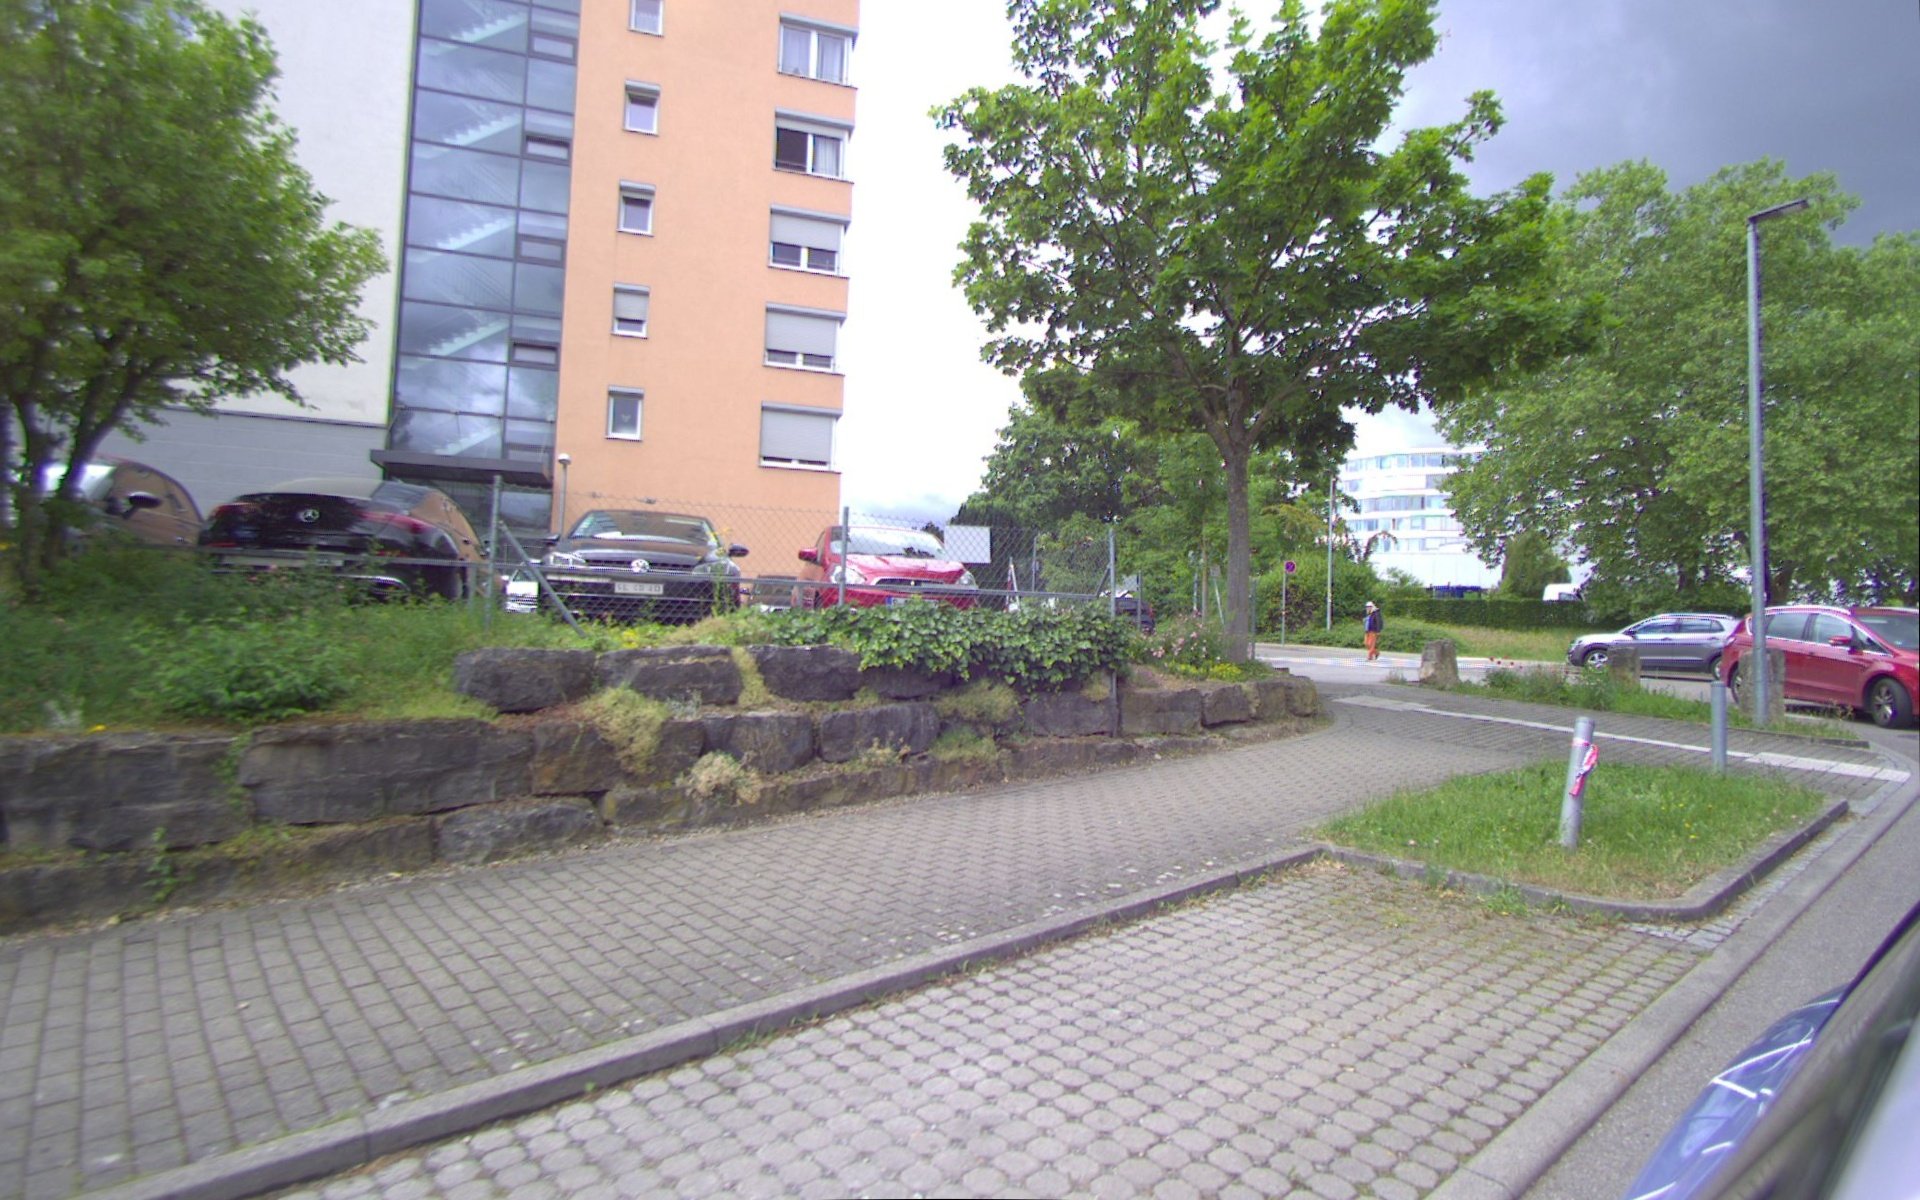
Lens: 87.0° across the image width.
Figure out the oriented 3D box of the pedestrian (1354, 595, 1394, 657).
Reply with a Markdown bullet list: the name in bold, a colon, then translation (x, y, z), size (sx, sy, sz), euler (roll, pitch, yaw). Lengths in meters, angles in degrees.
- **pedestrian**: translation (11.622, 0.729, 28.406), size (0.604, 1.686, 0.839), euler (1, 1, -44)

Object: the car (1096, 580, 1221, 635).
- **car**: translation (6.497, 0.244, 33.174), size (3.697, 1.680, 1.576), euler (1, 0, -17)

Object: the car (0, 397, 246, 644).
- **car**: translation (-7.657, -0.473, 8.325), size (1.903, 1.635, 4.006), euler (2, -3, -21)

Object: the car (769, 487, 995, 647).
- **car**: translation (-1.027, -0.226, 11.230), size (1.649, 1.458, 3.668), euler (1, -3, -18)

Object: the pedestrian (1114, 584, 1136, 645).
- **pedestrian**: translation (5.083, 0.457, 31.246), size (0.474, 1.836, 0.584), euler (1, -3, -16)

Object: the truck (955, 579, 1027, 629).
- **truck**: translation (1.719, 0.280, 58.187), size (2.024, 2.641, 5.817), euler (2, -3, -21)

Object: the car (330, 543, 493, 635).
- **car**: translation (-10.342, -0.106, 19.422), size (1.719, 1.537, 4.060), euler (1, -3, -13)

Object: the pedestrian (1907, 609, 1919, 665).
- **pedestrian**: translation (28.707, 1.097, 29.890), size (0.580, 1.678, 0.873), euler (2, -3, -25)

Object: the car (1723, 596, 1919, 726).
- **car**: translation (13.576, 0.805, 14.797), size (1.948, 1.666, 4.523), euler (0, -1, 9)

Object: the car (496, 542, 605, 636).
- **car**: translation (-7.998, -0.125, 20.069), size (1.657, 1.614, 4.139), euler (2, -3, -18)

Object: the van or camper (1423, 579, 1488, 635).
- **van or camper**: translation (26.277, 0.442, 53.814), size (2.083, 2.835, 4.461), euler (0, -3, 13)

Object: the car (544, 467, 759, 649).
- **car**: translation (-3.096, -0.255, 10.111), size (1.649, 1.440, 3.806), euler (1, -3, -18)

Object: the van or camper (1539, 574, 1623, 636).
- **van or camper**: translation (30.119, 0.322, 49.240), size (2.083, 2.835, 4.461), euler (0, -3, 13)

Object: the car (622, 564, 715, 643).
- **car**: translation (-6.027, 0.103, 21.255), size (1.657, 1.477, 3.846), euler (1, -1, -13)

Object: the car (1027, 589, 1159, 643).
- **car**: translation (3.850, 0.464, 29.406), size (3.452, 1.495, 1.507), euler (0, -2, -17)

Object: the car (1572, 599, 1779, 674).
- **car**: translation (17.266, 0.825, 24.519), size (3.989, 1.638, 1.698), euler (0, -1, 39)

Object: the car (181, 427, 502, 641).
- **car**: translation (-5.295, -0.398, 9.199), size (1.649, 1.517, 3.668), euler (1, -3, -18)

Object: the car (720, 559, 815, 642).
- **car**: translation (-4.194, 0.091, 21.618), size (1.719, 1.537, 4.060), euler (3, -3, -13)
